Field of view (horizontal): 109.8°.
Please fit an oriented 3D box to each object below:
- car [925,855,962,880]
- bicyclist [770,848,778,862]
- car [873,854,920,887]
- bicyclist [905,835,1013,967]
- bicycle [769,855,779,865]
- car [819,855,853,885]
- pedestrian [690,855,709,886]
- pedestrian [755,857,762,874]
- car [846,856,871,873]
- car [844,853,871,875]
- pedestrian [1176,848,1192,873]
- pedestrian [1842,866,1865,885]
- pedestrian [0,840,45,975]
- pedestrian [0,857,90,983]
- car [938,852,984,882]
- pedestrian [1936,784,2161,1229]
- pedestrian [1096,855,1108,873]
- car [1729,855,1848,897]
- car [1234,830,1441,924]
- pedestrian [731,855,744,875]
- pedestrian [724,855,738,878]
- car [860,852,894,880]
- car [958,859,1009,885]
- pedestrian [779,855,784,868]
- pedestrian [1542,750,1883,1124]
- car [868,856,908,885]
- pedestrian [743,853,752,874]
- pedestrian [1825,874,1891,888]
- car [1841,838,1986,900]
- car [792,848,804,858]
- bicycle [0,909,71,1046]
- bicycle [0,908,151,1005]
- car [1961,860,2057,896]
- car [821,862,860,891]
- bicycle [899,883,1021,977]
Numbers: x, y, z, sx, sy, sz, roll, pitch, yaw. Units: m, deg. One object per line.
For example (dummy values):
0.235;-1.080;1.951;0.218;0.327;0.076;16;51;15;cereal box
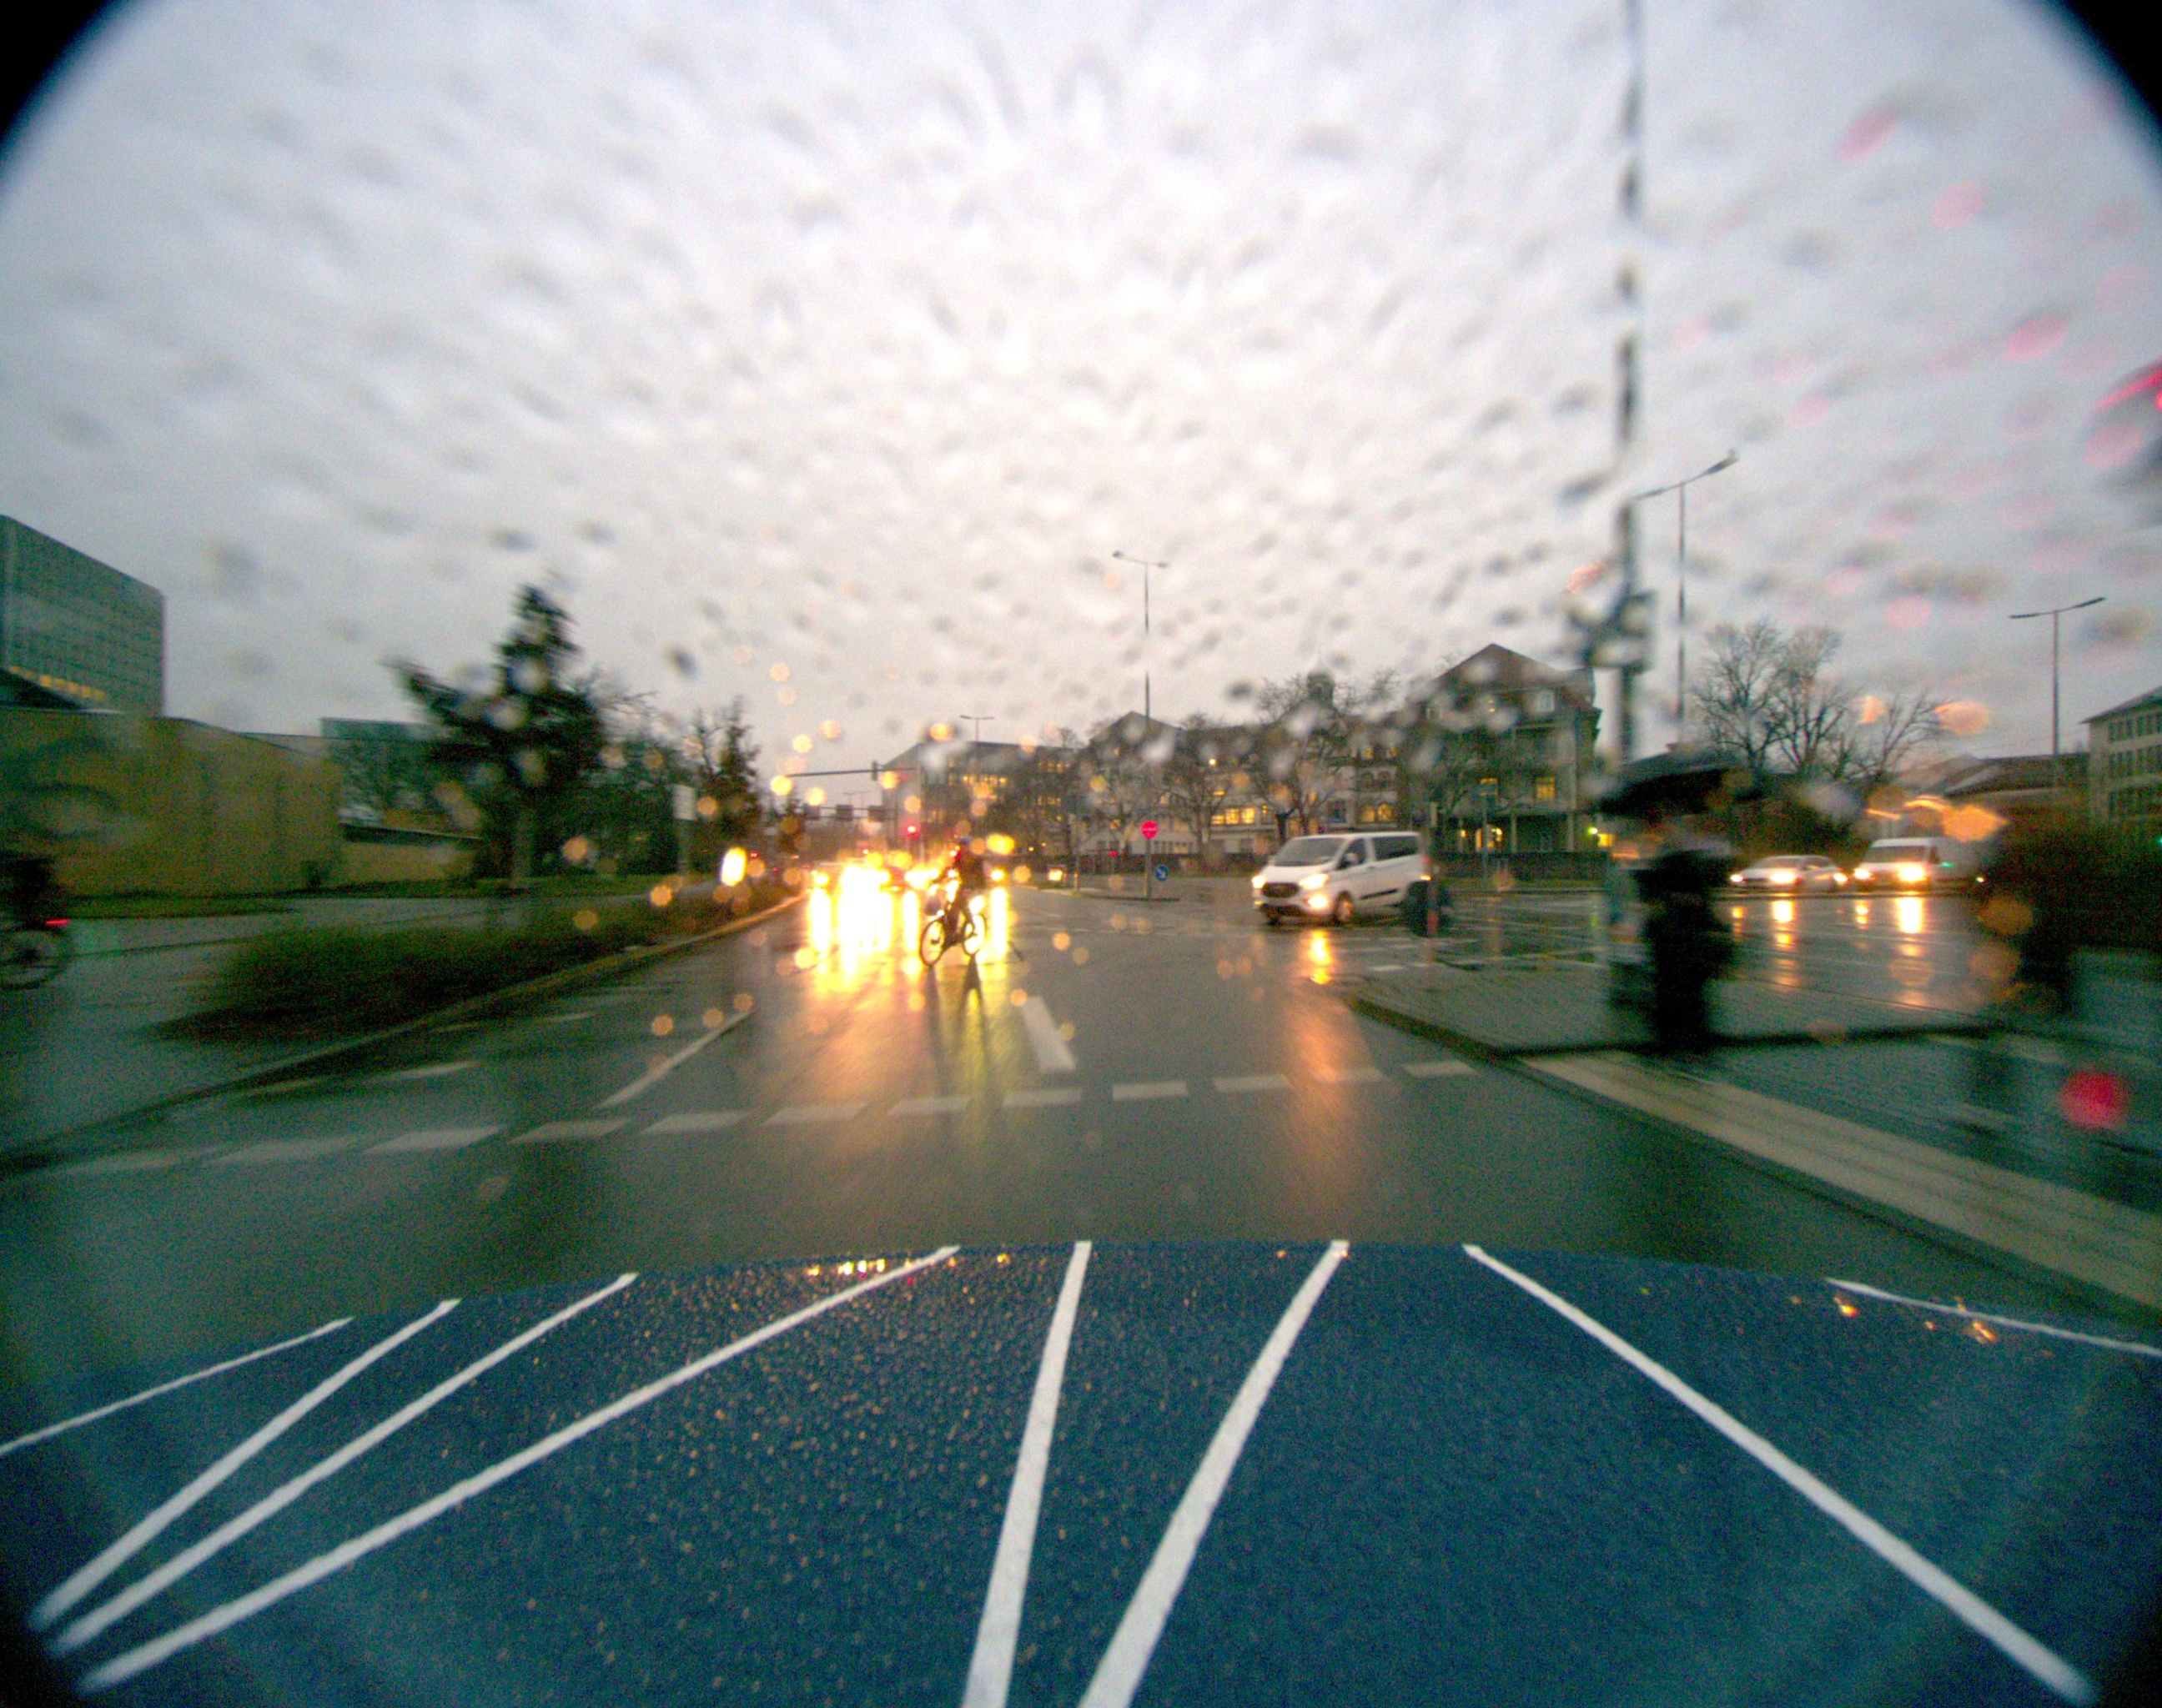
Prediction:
-10.380;0.956;57.175;2.002;1.739;4.462;-1;1;-20;car
-32.797;0.142;81.179;0.768;1.481;0.992;0;1;-20;bicyclist
-10.497;0.864;43.040;2.002;1.739;4.936;1;0;-20;car
-1.834;0.675;11.546;1.024;1.872;1.238;-1;0;29;bicyclist
-32.813;0.596;81.231;0.795;1.009;2.898;0;0;-20;bicycle
-15.551;0.997;48.175;2.002;1.827;3.993;0;0;-19;car
-22.934;1.005;45.661;0.934;1.815;0.832;1;0;-21;pedestrian
-38.283;1.379;90.087;0.767;2.002;0.771;0;1;-22;pedestrian
-21.374;0.986;72.875;2.002;1.558;4.753;2;0;-20;car
-19.576;0.861;66.415;2.002;1.912;4.260;0;0;-20;car
7.674;0.479;56.675;0.810;1.820;0.946;0;1;-24;pedestrian
53.913;1.503;53.054;0.979;1.309;0.816;1;1;36;pedestrian
-14.051;0.656;9.548;0.914;1.677;0.925;2;-2;-35;pedestrian
-11.689;0.693;8.220;0.876;1.309;0.849;1;1;9;pedestrian
-8.163;0.852;51.411;2.003;1.739;4.462;7;-2;-20;car
4.872;0.644;3.513;1.037;1.846;1.068;1;-3;-36;pedestrian
2.119;1.032;77.089;0.810;1.820;0.946;0;1;-24;pedestrian
26.975;0.829;28.962;4.323;1.494;1.752;0;-2;-24;car
6.100;0.546;17.820;5.027;1.909;2.133;1;-3;-38;car
-30.547;0.986;67.544;0.934;1.815;0.832;1;0;-21;pedestrian
-27.563;0.997;59.883;0.934;1.815;0.832;1;0;-21;pedestrian
-14.348;0.805;53.362;2.002;1.892;3.993;0;0;-19;car
-5.668;1.005;43.880;1.934;1.368;4.490;1;0;-20;car
-40.488;0.993;102.676;0.624;1.790;0.936;0;0;-18;pedestrian
3.840;0.466;4.749;1.215;2.037;1.035;0;-2;-8;pedestrian
-12.365;1.012;48.459;2.002;1.739;4.462;1;0;-20;car
-32.521;0.932;74.012;0.767;2.002;0.909;0;1;-22;pedestrian
54.049;1.911;52.914;3.091;0.924;0.951;-2;-3;36;pedestrian
36.212;0.673;33.043;5.874;2.502;2.344;0;-2;-23;car
-54.630;-0.251;146.766;2.145;1.805;3.992;1;0;-21;car
-9.737;1.080;5.942;0.806;1.134;2.212;3;-1;-6;bicycle
-11.681;1.128;8.180;0.562;0.941;2.097;1;0;9;bicycle
45.585;1.136;37.303;4.823;1.634;1.835;0;0;-25;car
-13.170;1.190;41.499;1.776;1.478;4.462;1;0;-20;car
-1.795;1.098;11.579;0.793;1.215;1.907;-1;0;29;bicycle
